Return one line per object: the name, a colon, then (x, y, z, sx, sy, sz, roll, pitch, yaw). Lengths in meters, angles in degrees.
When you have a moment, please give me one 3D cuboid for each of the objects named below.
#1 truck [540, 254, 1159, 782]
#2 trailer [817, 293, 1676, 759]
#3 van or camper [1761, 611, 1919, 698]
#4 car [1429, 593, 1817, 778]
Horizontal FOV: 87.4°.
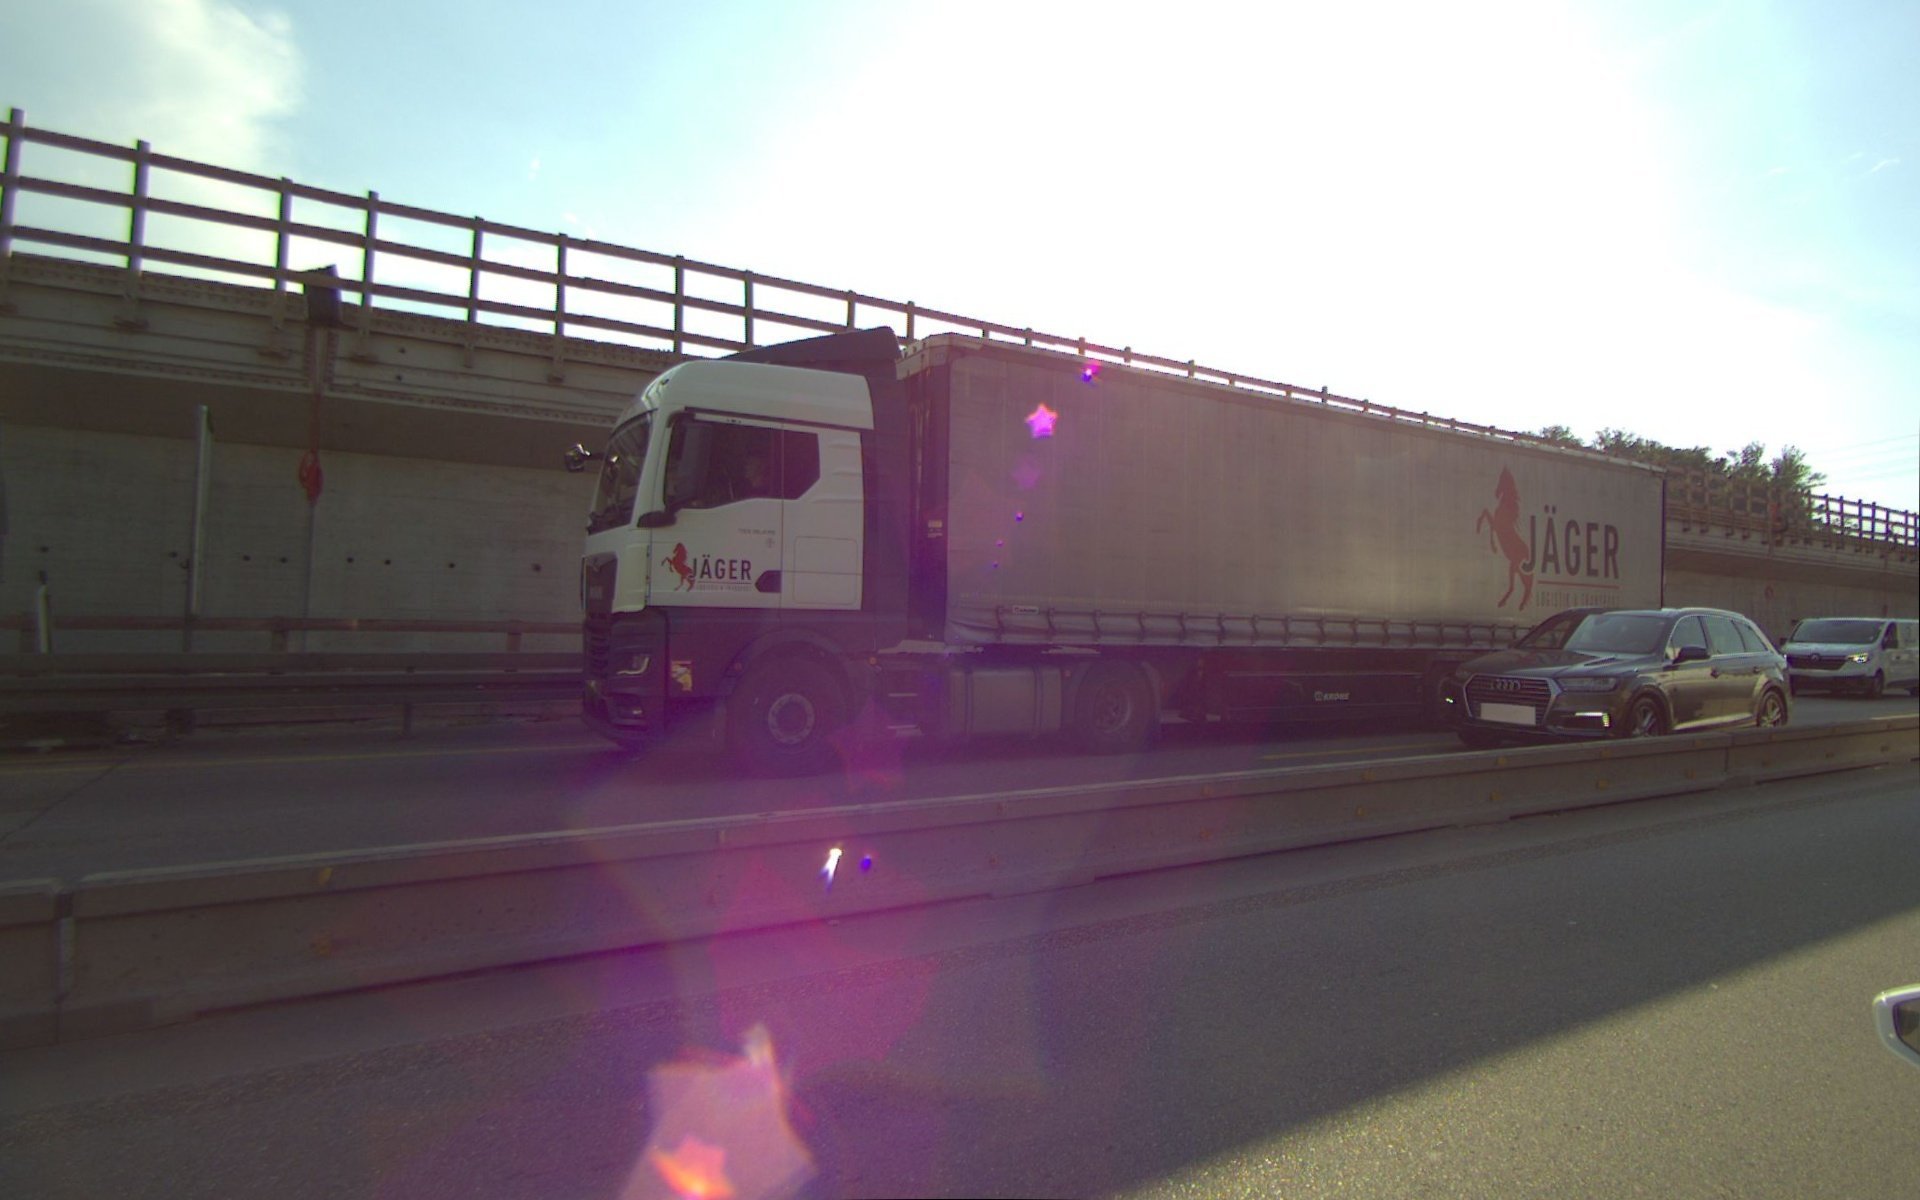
truck: (-1.077, -0.533, 10.381, 5.593, 4.061, 2.846, 3, -1, -31)
trailer: (4.949, -0.423, 13.997, 13.611, 4.296, 2.899, 3, -1, -31)
van or camper: (22.134, 1.315, 24.942, 4.866, 1.948, 1.907, 2, 0, -31)
car: (7.924, 0.923, 11.836, 5.082, 1.795, 1.812, 3, -1, -31)
